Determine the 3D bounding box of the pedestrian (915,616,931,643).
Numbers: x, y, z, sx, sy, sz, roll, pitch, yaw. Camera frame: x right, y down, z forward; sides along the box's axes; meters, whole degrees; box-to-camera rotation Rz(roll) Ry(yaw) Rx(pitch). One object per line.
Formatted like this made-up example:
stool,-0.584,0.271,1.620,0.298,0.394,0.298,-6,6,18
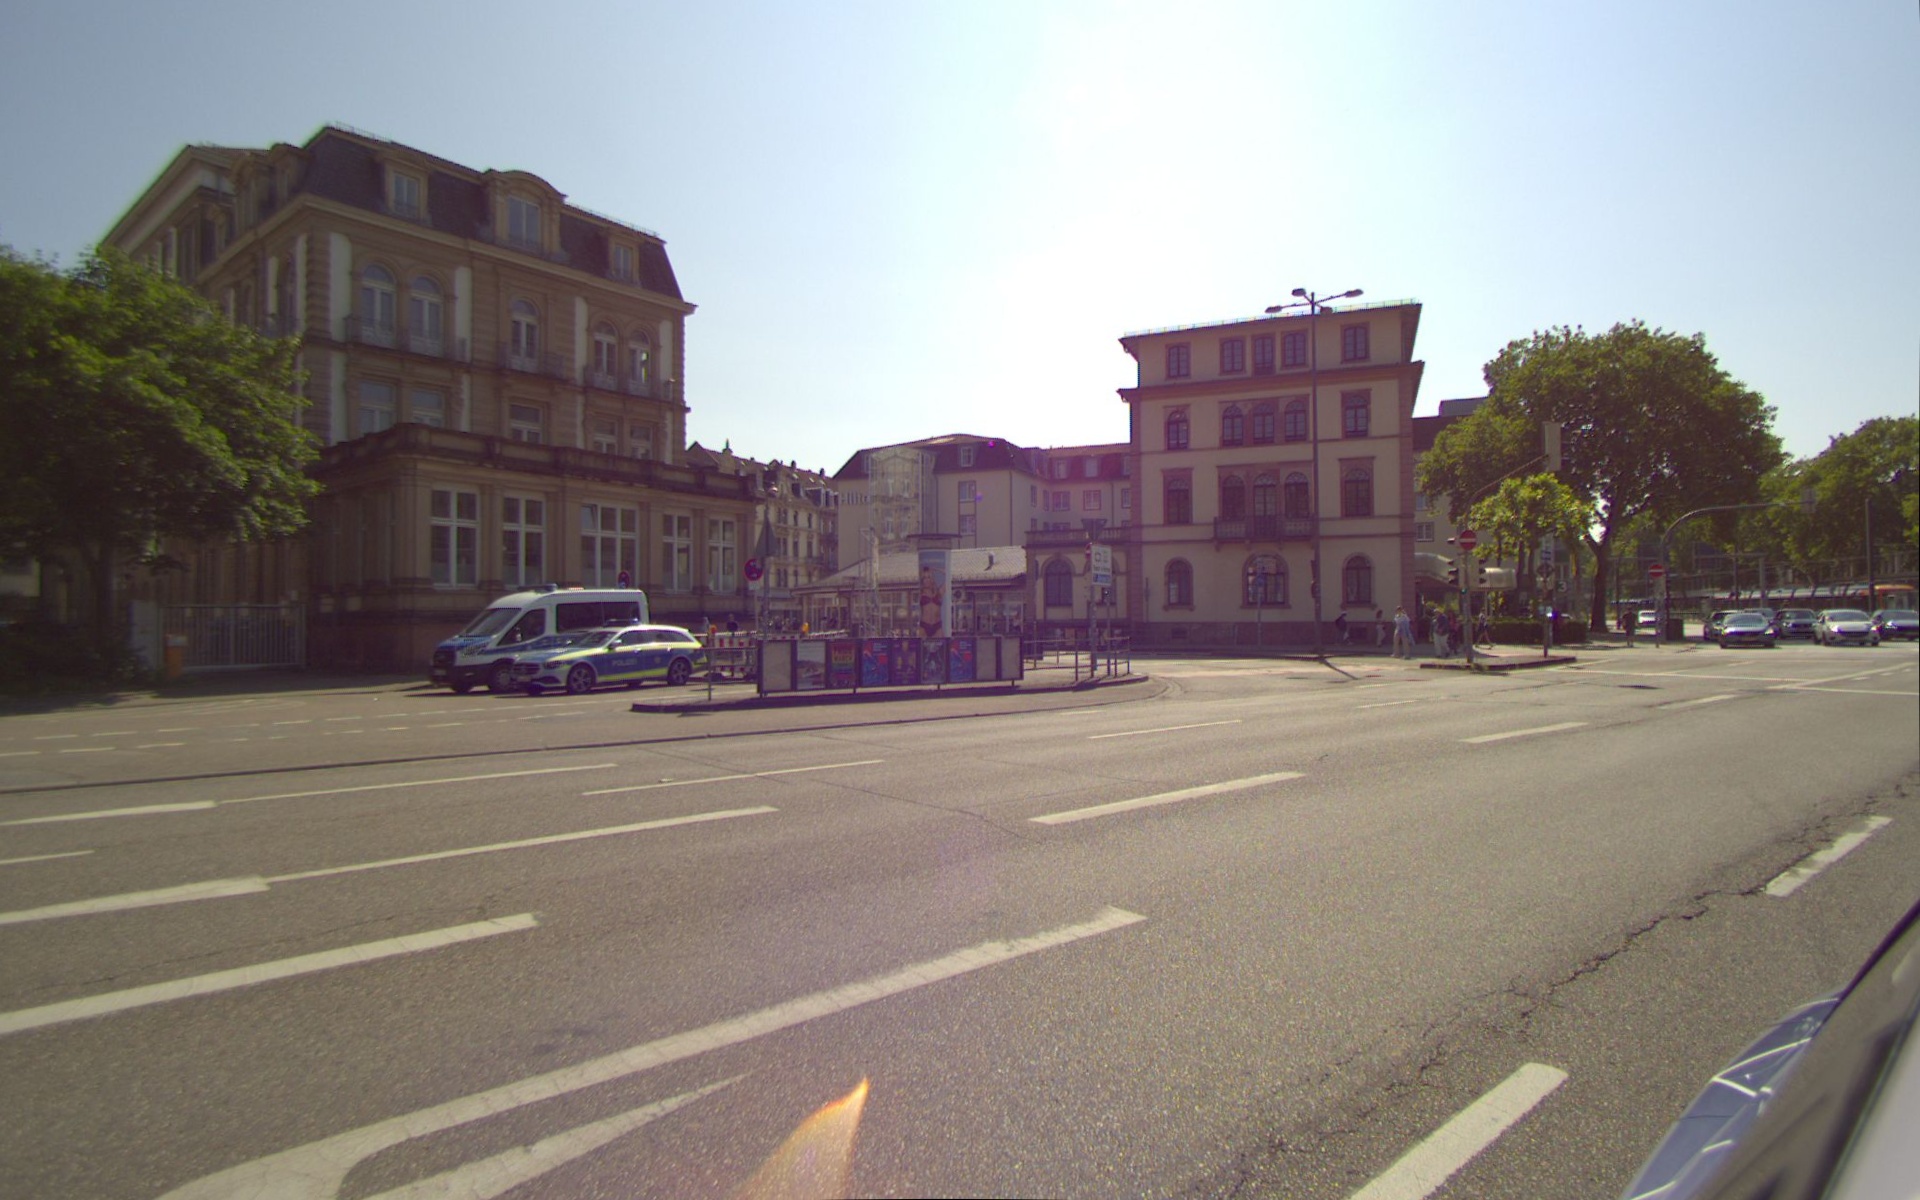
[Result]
pedestrian,-2.200,1.757,60.171,0.706,1.624,0.723,1,-2,-38

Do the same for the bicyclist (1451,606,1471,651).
bicyclist,18.376,1.027,37.106,0.589,1.627,0.676,-1,-2,32

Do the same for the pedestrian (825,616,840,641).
pedestrian,-8.615,1.929,68.249,0.706,1.624,0.724,1,-2,-36

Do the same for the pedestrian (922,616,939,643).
pedestrian,-1.774,1.765,60.516,0.706,1.624,0.723,1,-2,-39

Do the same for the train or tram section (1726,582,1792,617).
train or tram section,80.060,0.006,101.604,2.702,3.309,8.673,-1,-1,21

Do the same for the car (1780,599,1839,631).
car,43.282,0.760,51.647,1.779,1.550,3.927,0,0,33

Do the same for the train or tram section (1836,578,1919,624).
train or tram section,70.649,0.132,77.359,2.702,3.309,8.673,-1,-1,21

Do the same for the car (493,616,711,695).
car,-8.286,1.218,23.908,1.807,1.647,4.825,-2,-1,31

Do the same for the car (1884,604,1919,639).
car,43.693,0.952,46.226,1.781,1.543,3.922,0,0,36

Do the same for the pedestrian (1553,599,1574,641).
pedestrian,26.887,0.886,45.103,0.720,1.828,0.646,-1,-2,29

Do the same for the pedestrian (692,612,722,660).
pedestrian,-9.457,1.335,37.835,0.816,1.763,0.741,-2,-2,36

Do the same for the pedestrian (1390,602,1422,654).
pedestrian,14.790,0.918,33.555,0.750,1.681,0.817,-2,-2,41

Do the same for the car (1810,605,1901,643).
car,36.579,0.942,41.442,1.774,1.470,3.938,0,0,26

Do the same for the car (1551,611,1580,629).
car,45.726,1.508,76.484,1.575,1.339,3.545,-1,-1,27

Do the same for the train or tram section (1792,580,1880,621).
train or tram section,73.762,0.091,85.422,2.702,3.309,8.673,-1,-1,21

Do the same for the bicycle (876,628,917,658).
bicycle,-2.519,1.704,40.106,1.812,1.113,0.497,0,-1,41

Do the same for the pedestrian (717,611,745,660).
pedestrian,-8.515,1.320,37.652,0.697,1.774,0.713,-2,-2,34

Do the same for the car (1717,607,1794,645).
car,32.779,1.036,41.788,1.775,1.470,3.935,0,0,27

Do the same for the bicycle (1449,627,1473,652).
bicycle,18.412,1.433,37.154,0.589,0.866,1.724,-1,-1,32

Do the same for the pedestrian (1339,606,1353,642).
pedestrian,18.022,1.110,47.198,0.530,1.670,0.668,-1,-2,26

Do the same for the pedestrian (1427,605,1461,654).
pedestrian,15.990,0.962,33.423,0.770,1.592,0.816,-2,-2,43

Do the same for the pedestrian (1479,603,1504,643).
pedestrian,22.923,1.004,43.648,0.834,1.717,0.739,-1,-1,21

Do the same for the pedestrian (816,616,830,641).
pedestrian,-9.086,1.909,67.101,0.705,1.624,0.724,0,-2,-35

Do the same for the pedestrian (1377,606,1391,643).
pedestrian,19.021,1.101,45.351,0.530,1.670,0.575,-1,-2,26

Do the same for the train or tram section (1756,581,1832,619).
train or tram section,76.899,0.049,93.518,2.702,3.309,8.673,-1,-1,21

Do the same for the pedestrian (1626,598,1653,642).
pedestrian,29.294,0.876,43.630,0.715,1.869,0.592,-1,-1,0

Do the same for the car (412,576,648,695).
car,-10.550,0.829,25.287,1.985,2.637,5.256,-2,-1,32

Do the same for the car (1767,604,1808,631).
car,47.732,0.970,58.351,1.784,1.470,3.915,0,0,40
